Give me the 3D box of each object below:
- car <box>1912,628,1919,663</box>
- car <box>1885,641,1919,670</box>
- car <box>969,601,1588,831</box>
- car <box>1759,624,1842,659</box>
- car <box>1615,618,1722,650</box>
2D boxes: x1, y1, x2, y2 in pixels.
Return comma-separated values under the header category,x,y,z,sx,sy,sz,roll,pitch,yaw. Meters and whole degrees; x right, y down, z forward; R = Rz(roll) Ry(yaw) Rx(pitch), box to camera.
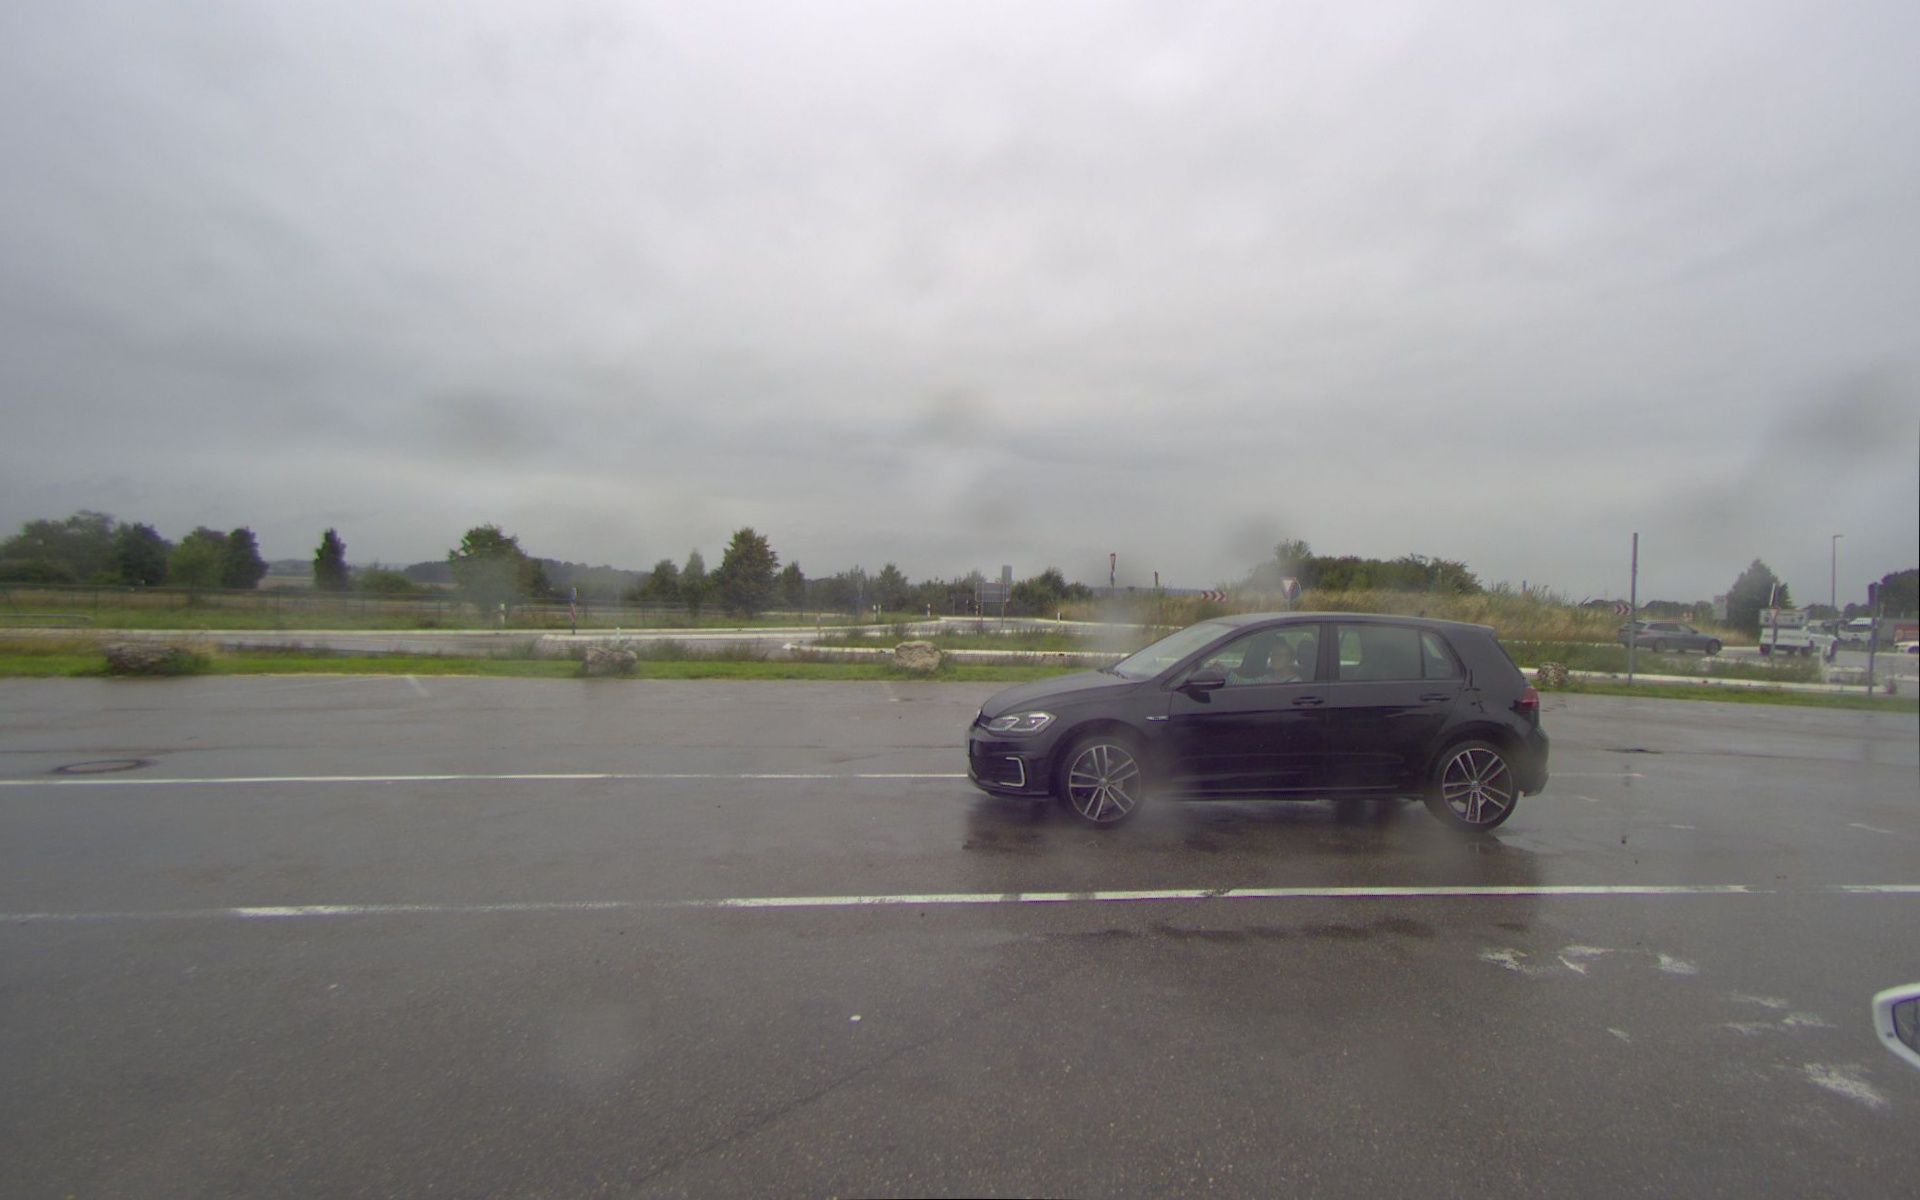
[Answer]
category,x,y,z,sx,sy,sz,roll,pitch,yaw
car,55.089,2.565,55.088,4.565,1.898,1.995,1,0,-13
car,62.502,3.598,64.399,4.280,1.782,1.749,2,-1,20
car,2.130,0.775,7.464,4.000,1.452,1.779,1,0,-4
car,41.536,2.033,49.628,4.332,1.605,1.681,1,0,-29
car,33.007,1.571,46.842,3.968,1.343,1.692,1,0,-7
